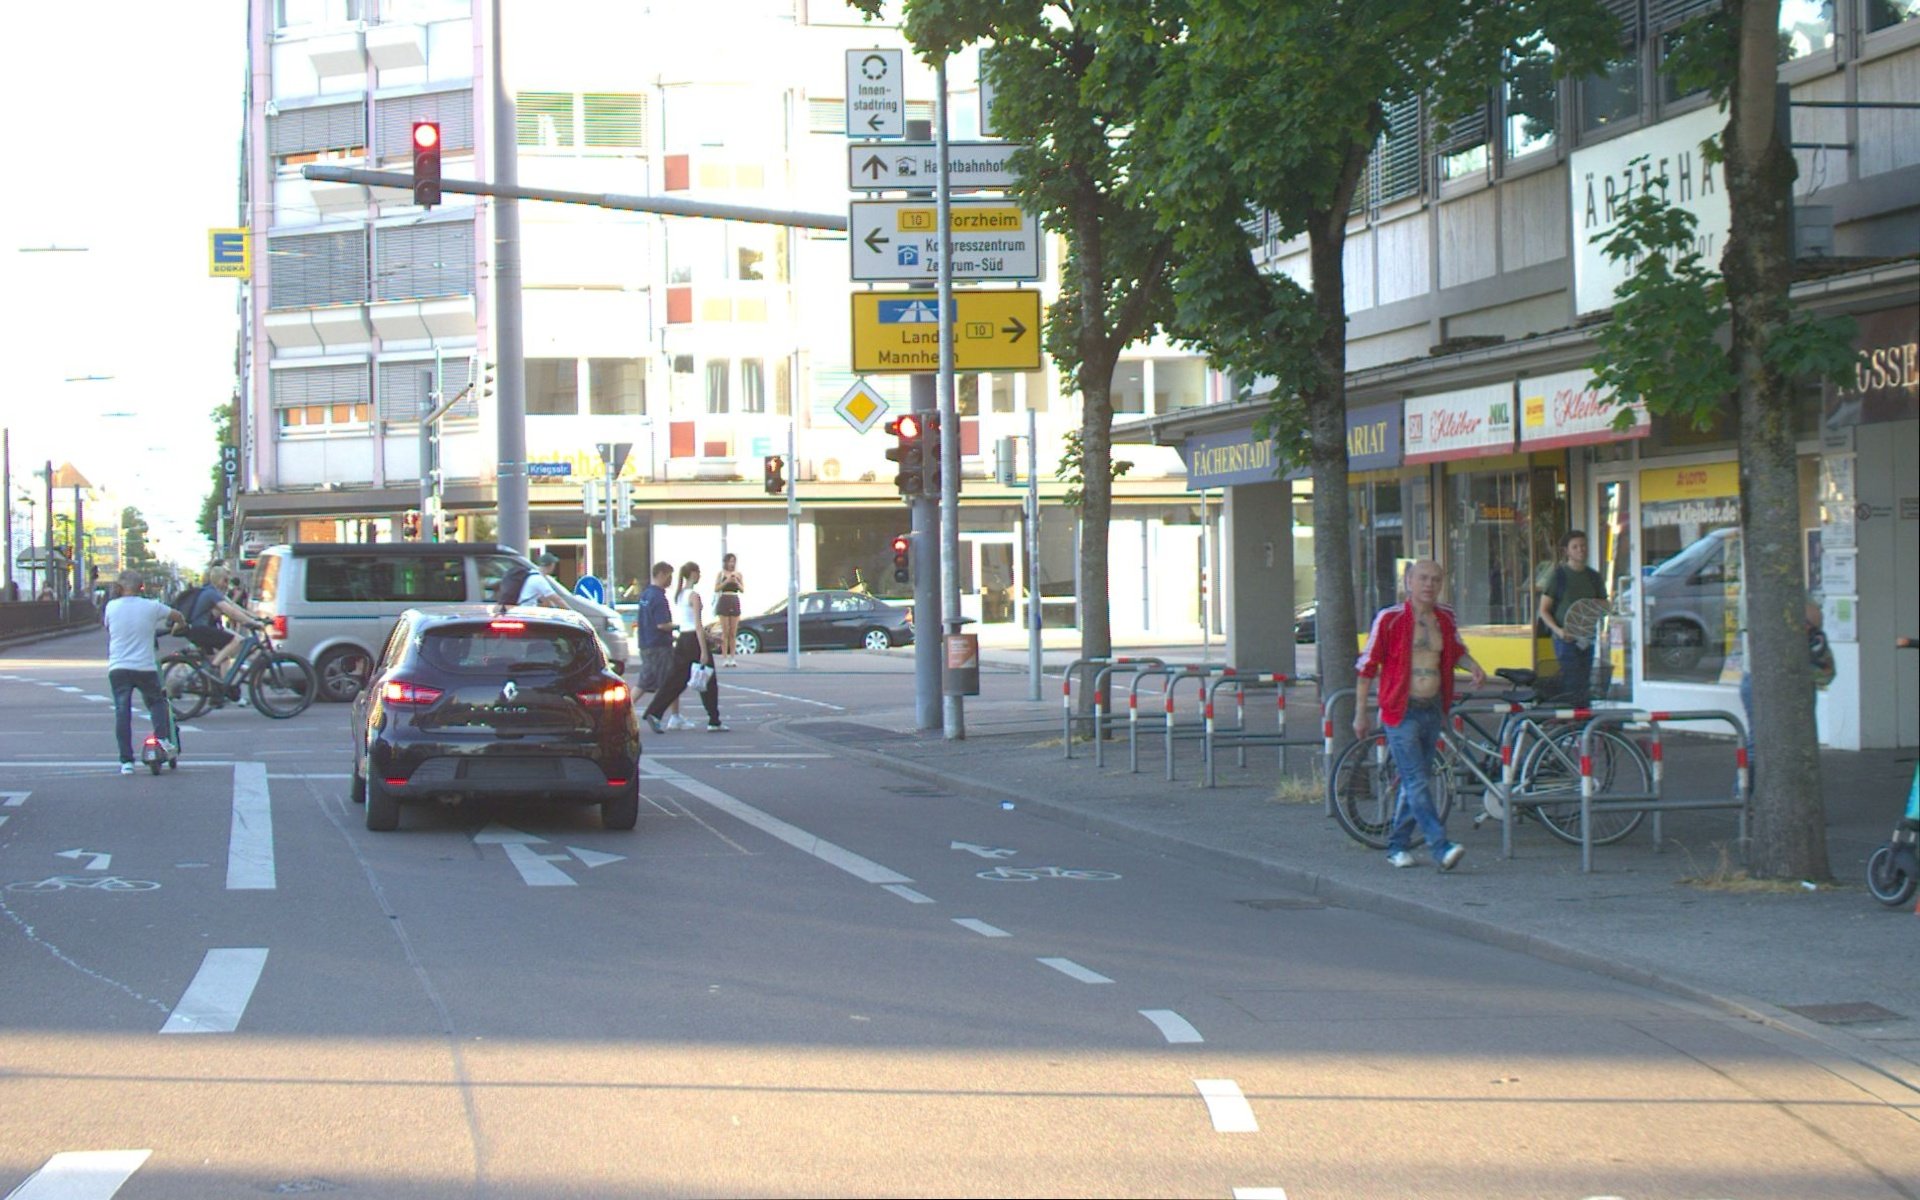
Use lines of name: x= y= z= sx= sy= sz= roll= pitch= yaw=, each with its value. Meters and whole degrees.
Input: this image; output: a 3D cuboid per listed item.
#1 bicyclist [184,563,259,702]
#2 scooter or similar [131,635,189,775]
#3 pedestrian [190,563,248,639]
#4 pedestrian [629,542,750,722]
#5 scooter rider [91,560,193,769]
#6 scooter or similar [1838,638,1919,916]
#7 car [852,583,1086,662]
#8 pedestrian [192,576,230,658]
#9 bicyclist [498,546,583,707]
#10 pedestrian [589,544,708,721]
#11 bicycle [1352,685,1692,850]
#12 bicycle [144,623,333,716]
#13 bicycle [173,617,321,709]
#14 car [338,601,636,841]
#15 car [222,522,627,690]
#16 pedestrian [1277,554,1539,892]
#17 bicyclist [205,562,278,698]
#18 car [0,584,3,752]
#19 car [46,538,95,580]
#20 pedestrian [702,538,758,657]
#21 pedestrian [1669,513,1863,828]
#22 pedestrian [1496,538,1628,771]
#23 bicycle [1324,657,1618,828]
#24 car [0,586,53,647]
bicyclist: x=-8.265 y=0.361 z=38.457 sx=0.704 sy=1.506 sz=0.550 roll=-3 pitch=1 yaw=-18
scooter or similar: x=-6.393 y=0.825 z=27.501 sx=0.279 sy=1.087 sz=1.257 roll=1 pitch=0 yaw=-6
pedestrian: x=-16.836 y=0.021 z=78.129 sx=0.851 sy=1.720 sz=0.933 roll=0 pitch=-1 yaw=37
pedestrian: x=-2.793 y=0.331 z=35.478 sx=0.994 sy=1.824 sz=0.729 roll=1 pitch=-1 yaw=-34
scooter rider: x=-6.519 y=0.511 z=27.423 sx=0.662 sy=1.641 sz=0.661 roll=1 pitch=-1 yaw=-4
scooter or similar: x=4.478 y=0.766 z=14.960 sx=1.219 sy=1.213 sz=0.294 roll=-2 pitch=-2 yaw=34
car: x=0.174 y=0.475 z=72.073 sx=4.550 sy=1.615 sz=1.998 roll=0 pitch=0 yaw=-15
pedestrian: x=-20.276 y=0.462 z=93.090 sx=0.931 sy=2.189 sz=0.852 roll=1 pitch=-1 yaw=-15
bicyclist: x=-4.964 y=0.316 z=40.624 sx=0.860 sy=1.872 sz=0.647 roll=1 pitch=-1 yaw=-18
pedestrian: x=-3.266 y=0.346 z=35.994 sx=0.994 sy=1.824 sz=0.729 roll=1 pitch=-1 yaw=-32
bicycle: x=3.138 y=0.933 z=19.240 sx=1.817 sy=0.888 sz=0.415 roll=1 pitch=0 yaw=-5
bicycle: x=-8.073 y=0.769 z=38.483 sx=2.035 sy=1.024 sz=0.417 roll=0 pitch=0 yaw=-17
bicycle: x=-8.166 y=0.717 z=39.373 sx=1.611 sy=1.024 sz=0.353 roll=-1 pitch=0 yaw=-19
car: x=-3.258 y=0.741 z=23.133 sx=1.764 sy=1.435 sz=4.001 roll=0 pitch=0 yaw=-11
car: x=-6.827 y=0.045 z=43.894 sx=4.682 sy=2.007 sz=2.000 roll=-1 pitch=1 yaw=-27
pedestrian: x=2.312 y=0.616 z=17.777 sx=0.823 sy=1.679 sz=1.048 roll=1 pitch=-1 yaw=-38
bicyclist: x=-8.222 y=0.339 z=39.356 sx=0.704 sy=1.506 sz=0.550 roll=-3 pitch=1 yaw=-17
car: x=-7.138 y=0.622 z=22.016 sx=1.744 sy=1.455 sz=4.411 roll=1 pitch=0 yaw=-13
car: x=-42.640 y=-1.957 z=164.882 sx=1.993 sy=1.894 sz=4.001 roll=1 pitch=0 yaw=-11
pedestrian: x=-3.486 y=-0.032 z=52.000 sx=0.746 sy=1.772 sz=0.800 roll=1 pitch=-1 yaw=-10
pedestrian: x=4.660 y=0.404 z=19.914 sx=0.746 sy=1.772 sz=0.973 roll=1 pitch=-1 yaw=-11
pedestrian: x=4.667 y=0.421 z=26.674 sx=0.746 sy=1.772 sz=0.800 roll=1 pitch=-1 yaw=-12
bicycle: x=2.999 y=0.835 z=20.204 sx=1.657 sy=0.971 sz=0.386 roll=1 pitch=-1 yaw=-5
car: x=-27.484 y=0.482 z=100.110 sx=1.811 sy=1.740 sz=3.716 roll=1 pitch=0 yaw=-11
